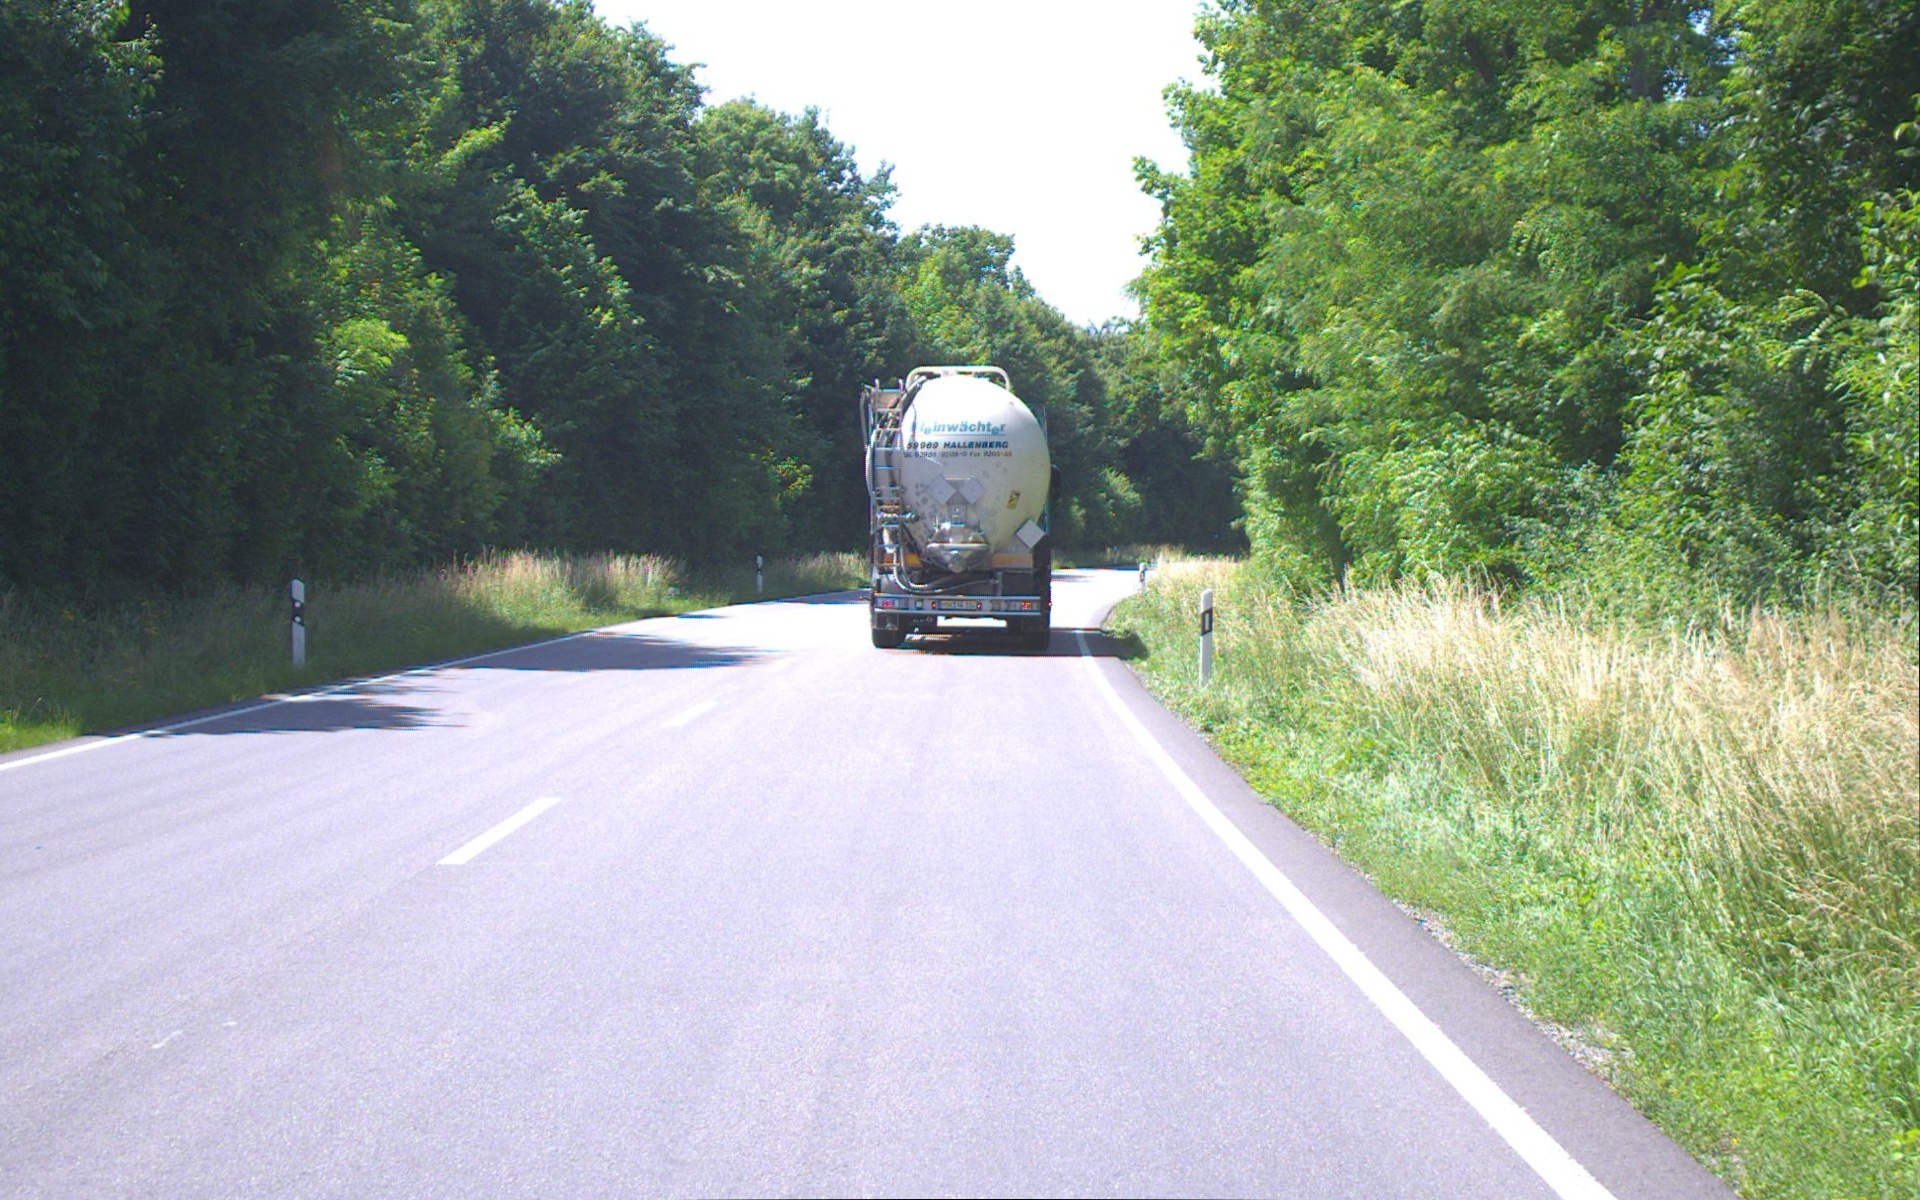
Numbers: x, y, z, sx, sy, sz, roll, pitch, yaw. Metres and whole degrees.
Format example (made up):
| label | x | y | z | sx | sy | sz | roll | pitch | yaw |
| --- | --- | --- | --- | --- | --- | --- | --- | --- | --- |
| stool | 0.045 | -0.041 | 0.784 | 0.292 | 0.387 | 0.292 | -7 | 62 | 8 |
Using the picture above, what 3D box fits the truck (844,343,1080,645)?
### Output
| label | x | y | z | sx | sy | sz | roll | pitch | yaw |
| --- | --- | --- | --- | --- | --- | --- | --- | --- | --- |
| truck | -0.241 | -1.582 | 53.787 | 3.049 | 3.984 | 15.638 | 1 | 1 | -2 |
